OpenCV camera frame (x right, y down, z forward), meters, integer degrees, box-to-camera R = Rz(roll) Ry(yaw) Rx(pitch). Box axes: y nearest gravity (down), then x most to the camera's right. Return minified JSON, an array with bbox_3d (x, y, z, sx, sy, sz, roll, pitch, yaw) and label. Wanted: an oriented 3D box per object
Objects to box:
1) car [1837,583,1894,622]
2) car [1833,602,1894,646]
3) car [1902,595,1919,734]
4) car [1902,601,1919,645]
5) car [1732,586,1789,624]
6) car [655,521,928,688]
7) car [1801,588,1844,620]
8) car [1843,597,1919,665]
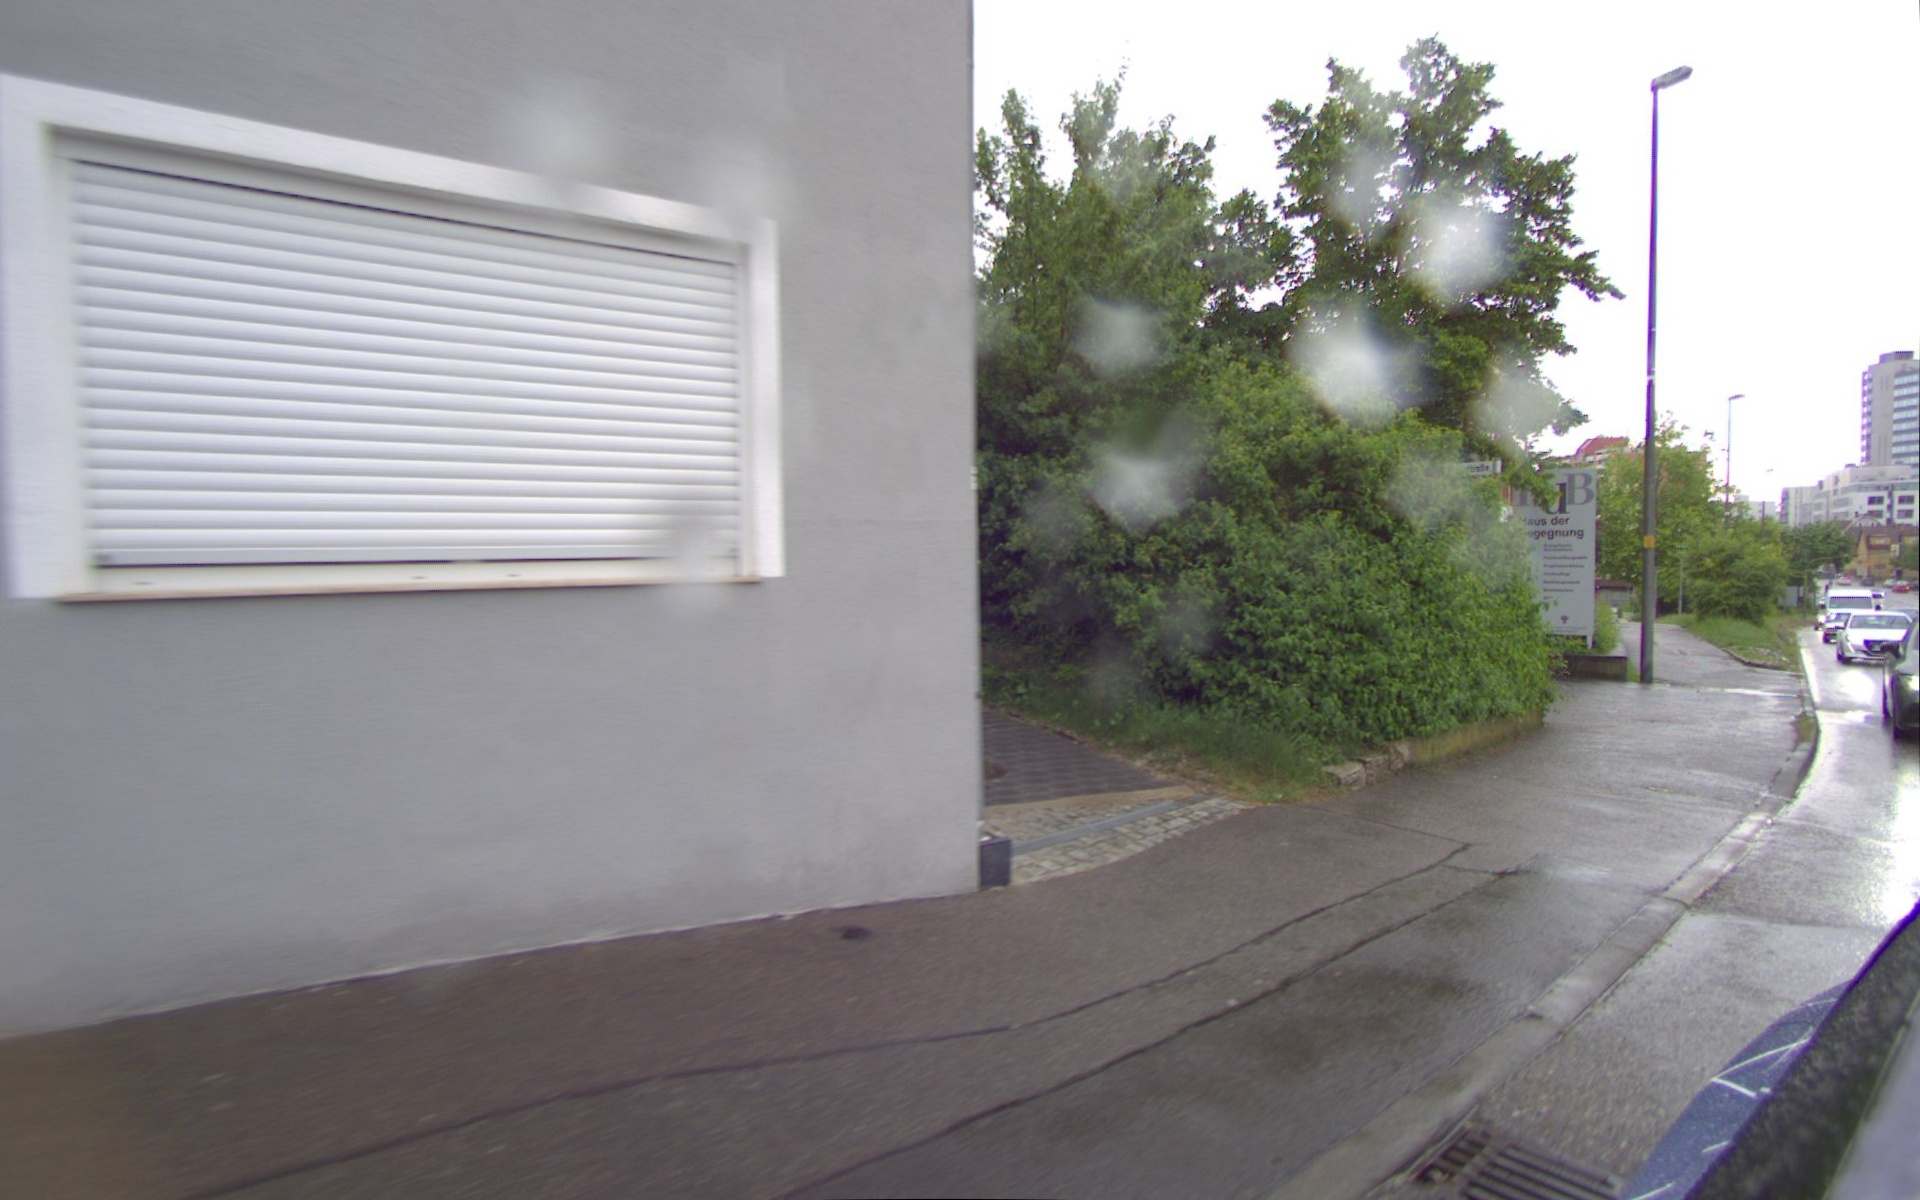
[{"bbox_3d":[47.848,0.161,53.539,2.022,1.961,4.872,1,0,40],"label":"car"},{"bbox_3d":[39.211,1.023,43.956,1.895,1.745,4.395,1,0,42],"label":"car"},{"bbox_3d":[12.772,0.725,12.306,1.832,1.533,4.774,0,0,42],"label":"car"},{"bbox_3d":[35.403,0.866,36.633,1.895,1.515,4.867,2,0,43],"label":"car"},{"bbox_3d":[40.788,0.211,51.557,2.042,1.843,3.908,0,1,42],"label":"car"},{"bbox_3d":[-1.982,-0.076,11.021,1.604,1.472,3.581,0,4,-33],"label":"car"},{"bbox_3d":[55.628,0.270,65.331,2.022,1.961,4.872,1,0,40],"label":"car"},{"bbox_3d":[26.497,0.821,28.683,1.891,1.680,4.877,-3,-1,38],"label":"car"}]
